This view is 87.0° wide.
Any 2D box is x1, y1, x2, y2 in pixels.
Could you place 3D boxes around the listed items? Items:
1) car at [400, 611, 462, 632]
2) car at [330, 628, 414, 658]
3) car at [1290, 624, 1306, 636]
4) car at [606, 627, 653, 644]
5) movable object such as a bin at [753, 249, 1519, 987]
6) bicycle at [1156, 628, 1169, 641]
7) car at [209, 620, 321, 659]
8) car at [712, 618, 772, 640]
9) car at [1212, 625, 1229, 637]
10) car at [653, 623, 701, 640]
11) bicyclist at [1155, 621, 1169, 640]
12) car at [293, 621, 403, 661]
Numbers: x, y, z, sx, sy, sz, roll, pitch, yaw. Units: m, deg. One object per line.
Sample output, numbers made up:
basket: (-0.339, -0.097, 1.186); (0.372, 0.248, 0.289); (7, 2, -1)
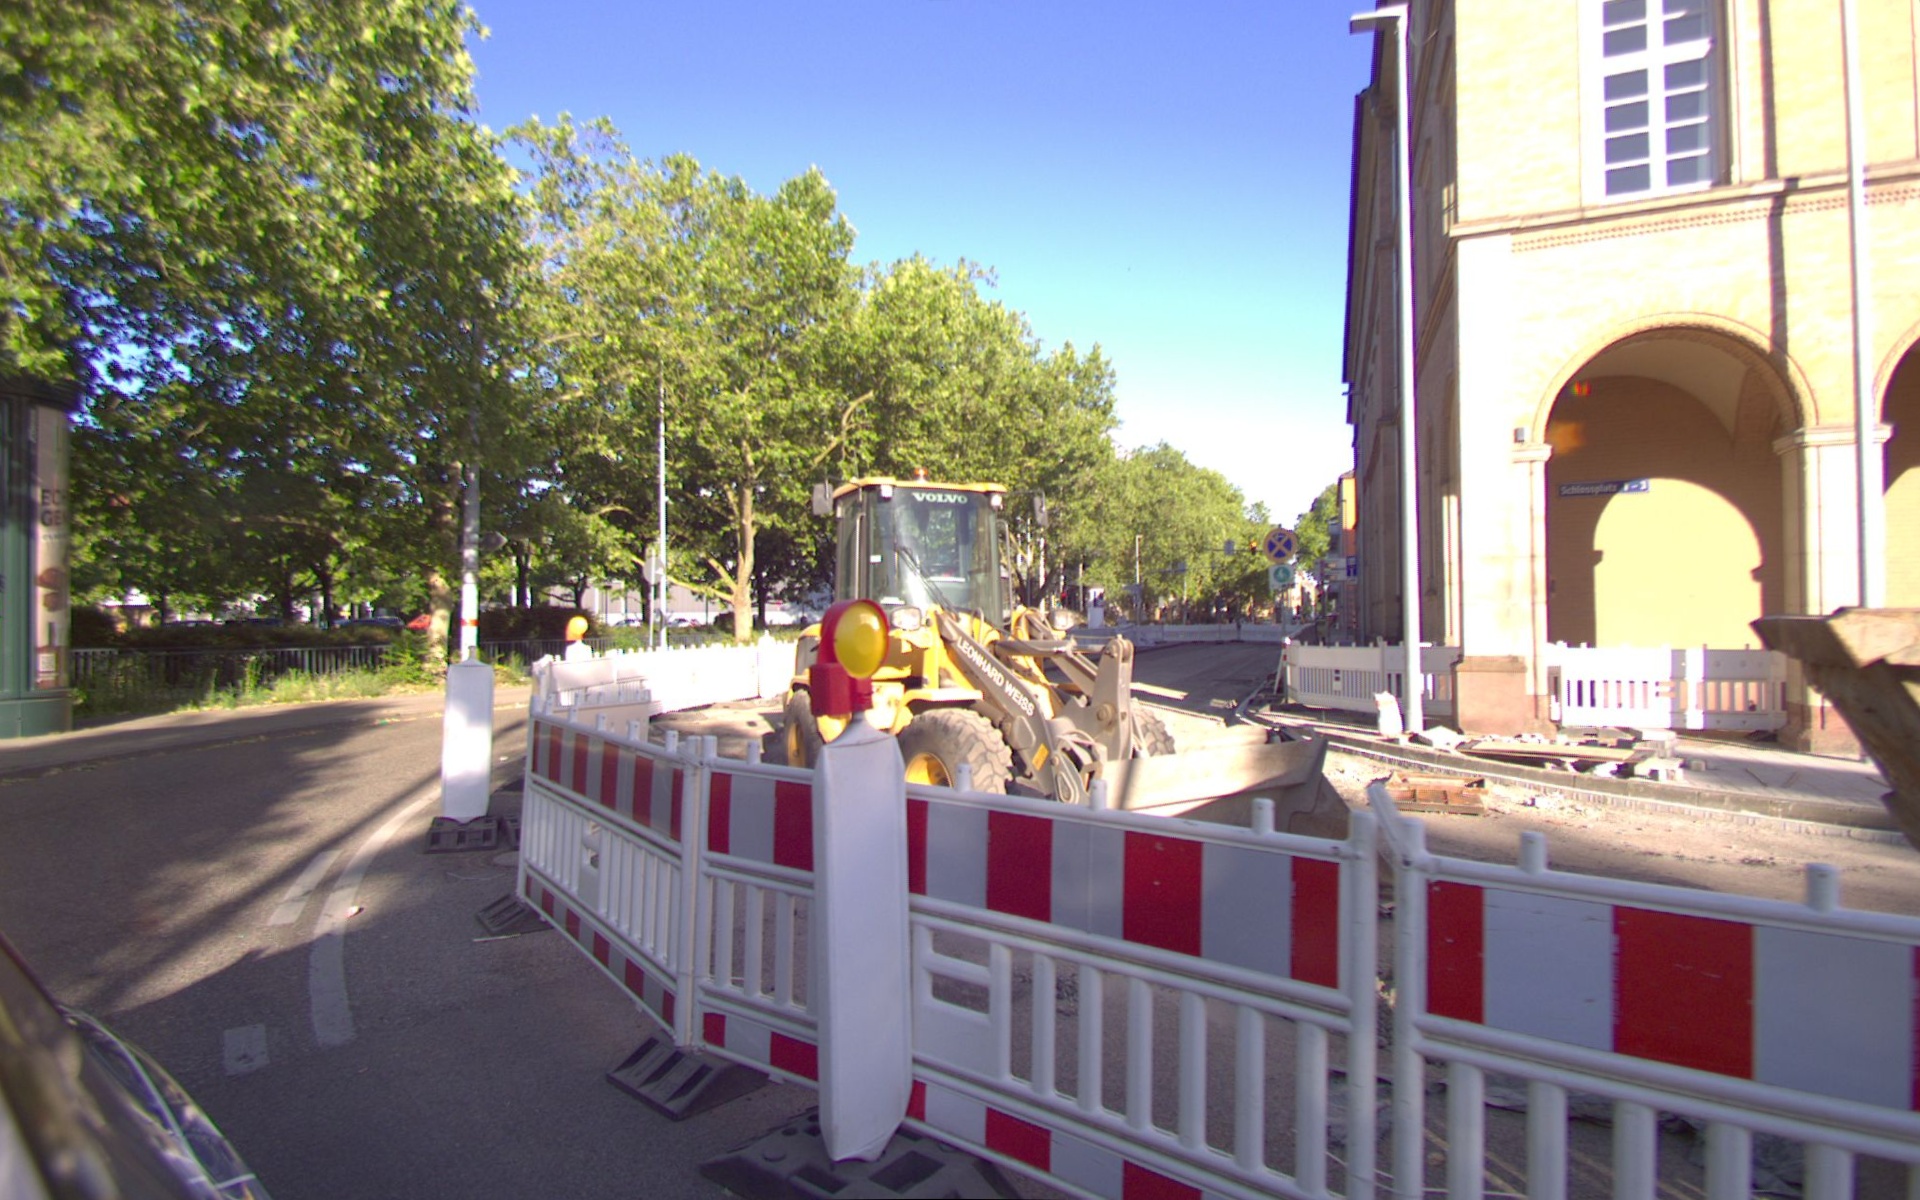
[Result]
car: (-49.555, 1.996, 94.812); (4.861, 1.800, 2.083); (1, -1, 12)
car: (-34.199, 2.504, 58.955); (1.910, 1.638, 3.972); (-2, -3, 21)
car: (51.980, 4.619, 155.912); (1.982, 1.830, 5.099); (2, -1, 15)
car: (-29.350, 3.148, 89.869); (3.820, 1.496, 1.620); (-1, -2, 19)
movable object such as a bin: (0.482, 0.129, 7.414); (2.522, 3.054, 5.951); (1, -1, -26)
bicycle: (18.021, 3.059, 90.030); (0.701, 1.075, 1.909); (-1, -3, 28)
car: (-30.920, 1.738, 45.139); (1.542, 1.638, 3.972); (-2, -3, 20)
car: (-18.695, 2.502, 86.803); (4.682, 1.842, 2.096); (-1, -2, 19)
car: (32.950, 3.910, 128.048); (1.774, 1.541, 4.627); (-1, -2, 19)
car: (-24.769, 2.778, 88.640); (3.820, 1.496, 1.620); (-1, -2, 19)
bicyclist: (17.938, 2.683, 90.001); (0.946, 1.652, 0.998); (-2, -2, 28)
car: (-26.457, 1.753, 43.916); (1.748, 1.638, 3.979); (-1, -2, 16)
